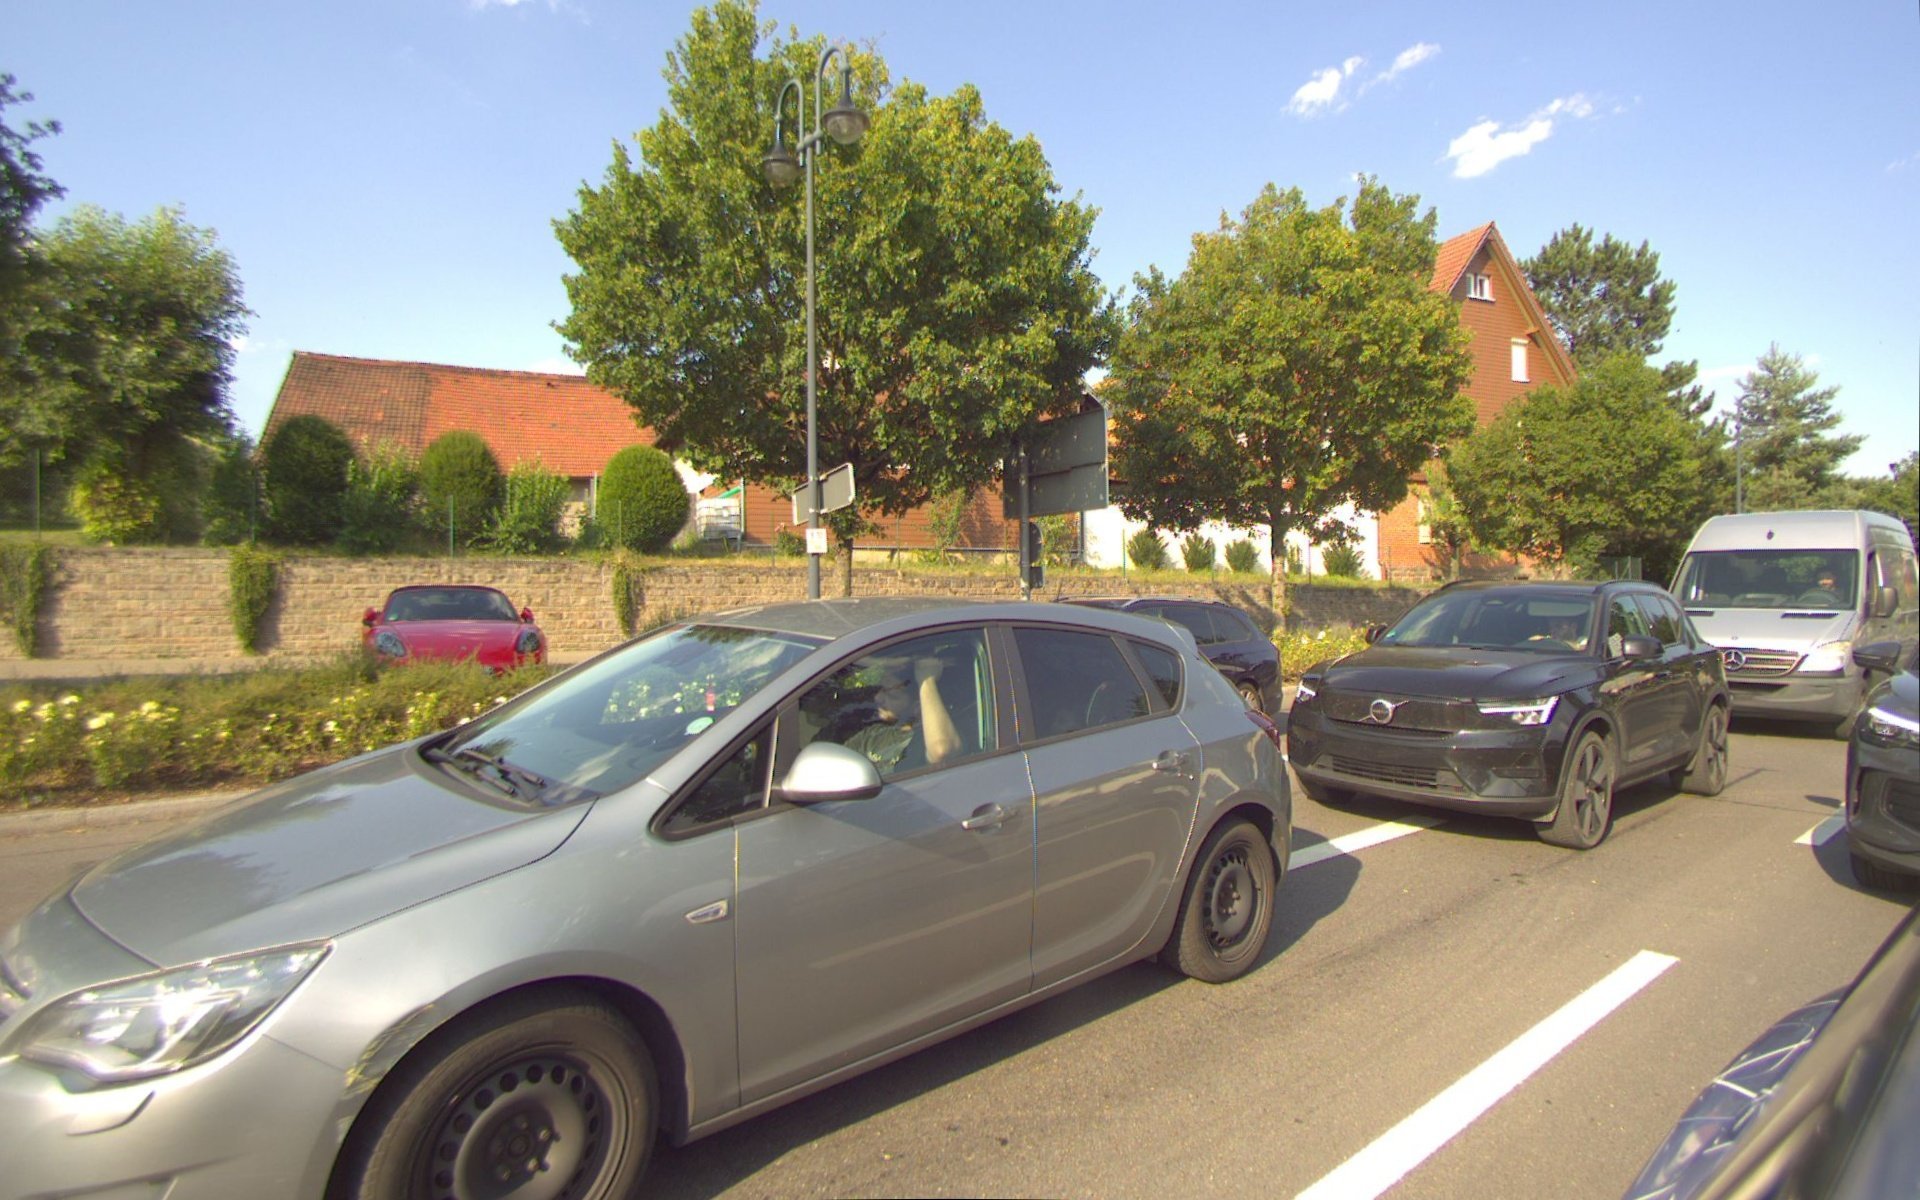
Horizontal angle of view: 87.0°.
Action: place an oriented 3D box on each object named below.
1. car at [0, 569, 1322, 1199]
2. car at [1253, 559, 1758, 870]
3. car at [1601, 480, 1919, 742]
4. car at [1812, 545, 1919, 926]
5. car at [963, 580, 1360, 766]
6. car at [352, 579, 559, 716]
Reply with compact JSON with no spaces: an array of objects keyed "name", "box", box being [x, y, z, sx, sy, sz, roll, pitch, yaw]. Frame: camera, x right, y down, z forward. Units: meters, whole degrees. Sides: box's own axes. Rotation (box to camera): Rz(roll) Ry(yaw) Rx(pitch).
[{"name":"car","box":[-0.605,0.668,3.474,4.095,1.460,1.746,0,0,-42]},{"name":"car","box":[4.101,0.585,7.344,4.054,1.629,1.885,0,0,-40]},{"name":"car","box":[10.559,0.089,12.861,6.082,2.579,2.369,0,0,-40]},{"name":"car","box":[6.371,0.591,5.519,4.646,1.677,1.893,0,0,-40]},{"name":"car","box":[2.190,0.589,10.410,4.126,1.538,1.820,0,0,-39]},{"name":"car","box":[-5.827,0.438,11.703,1.816,1.288,4.005,0,0,-28]}]
